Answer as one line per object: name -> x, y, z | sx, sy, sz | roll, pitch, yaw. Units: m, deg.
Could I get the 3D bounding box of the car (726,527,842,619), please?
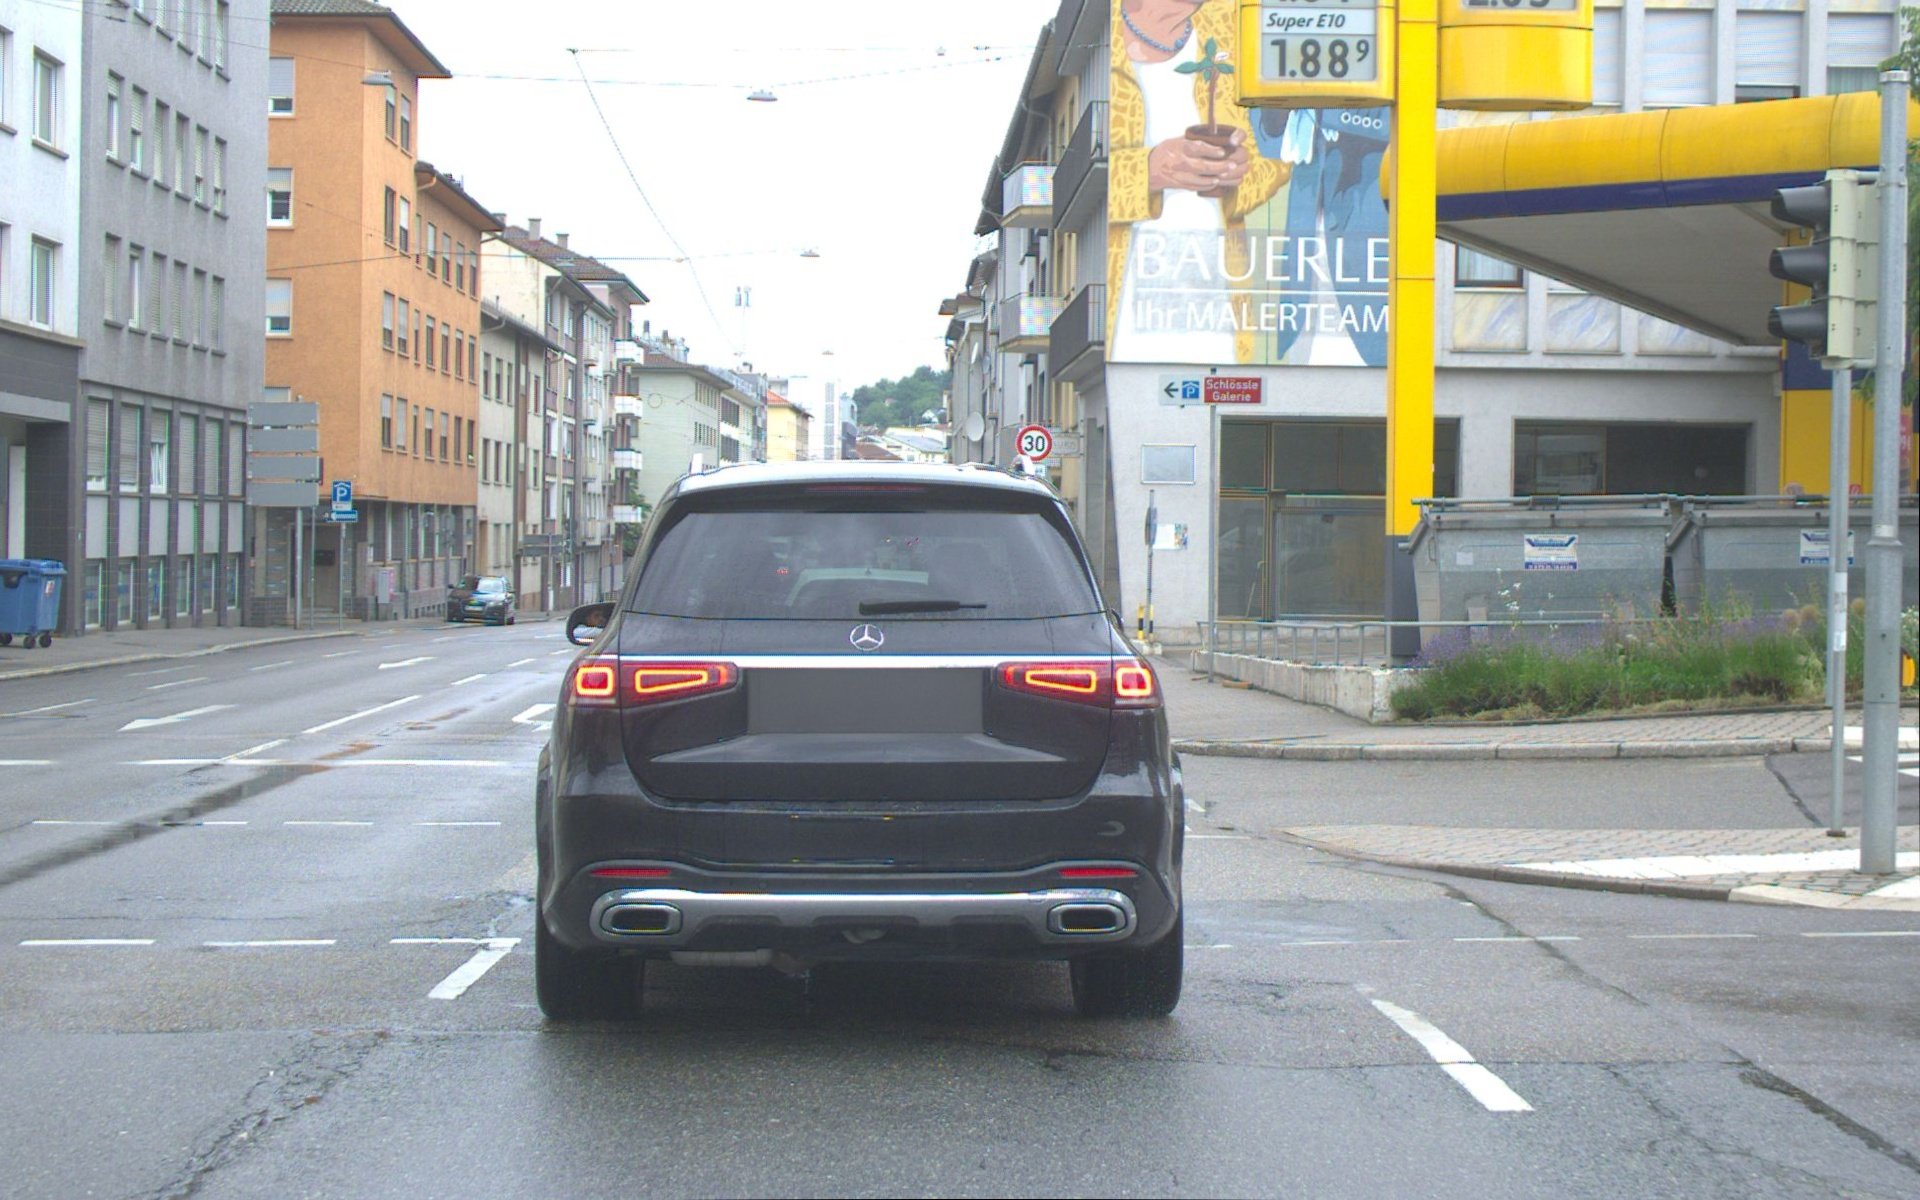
car -> -3.359, -0.540, 66.309 | 2.076, 1.644, 4.295 | 2, 1, -2

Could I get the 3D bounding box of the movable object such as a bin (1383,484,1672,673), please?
movable object such as a bin -> 4.826, -0.186, 29.452 | 2.155, 1.569, 1.773 | 0, 1, -1

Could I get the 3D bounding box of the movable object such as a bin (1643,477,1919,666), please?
movable object such as a bin -> 7.130, -0.249, 29.468 | 2.155, 1.550, 1.773 | -1, 1, -1

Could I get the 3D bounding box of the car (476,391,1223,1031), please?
car -> -0.382, 0.285, 12.175 | 2.076, 1.759, 4.611 | 2, 1, -2

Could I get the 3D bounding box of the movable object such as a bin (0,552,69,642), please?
movable object such as a bin -> -14.322, -0.060, 52.534 | 1.076, 1.320, 1.191 | 2, 1, -1

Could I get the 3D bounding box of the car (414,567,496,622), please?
car -> -14.473, -0.167, 98.734 | 1.891, 1.453, 4.550 | 2, 1, -3

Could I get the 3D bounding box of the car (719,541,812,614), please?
car -> -4.714, -0.566, 83.822 | 2.076, 1.644, 4.295 | 2, 1, -2
